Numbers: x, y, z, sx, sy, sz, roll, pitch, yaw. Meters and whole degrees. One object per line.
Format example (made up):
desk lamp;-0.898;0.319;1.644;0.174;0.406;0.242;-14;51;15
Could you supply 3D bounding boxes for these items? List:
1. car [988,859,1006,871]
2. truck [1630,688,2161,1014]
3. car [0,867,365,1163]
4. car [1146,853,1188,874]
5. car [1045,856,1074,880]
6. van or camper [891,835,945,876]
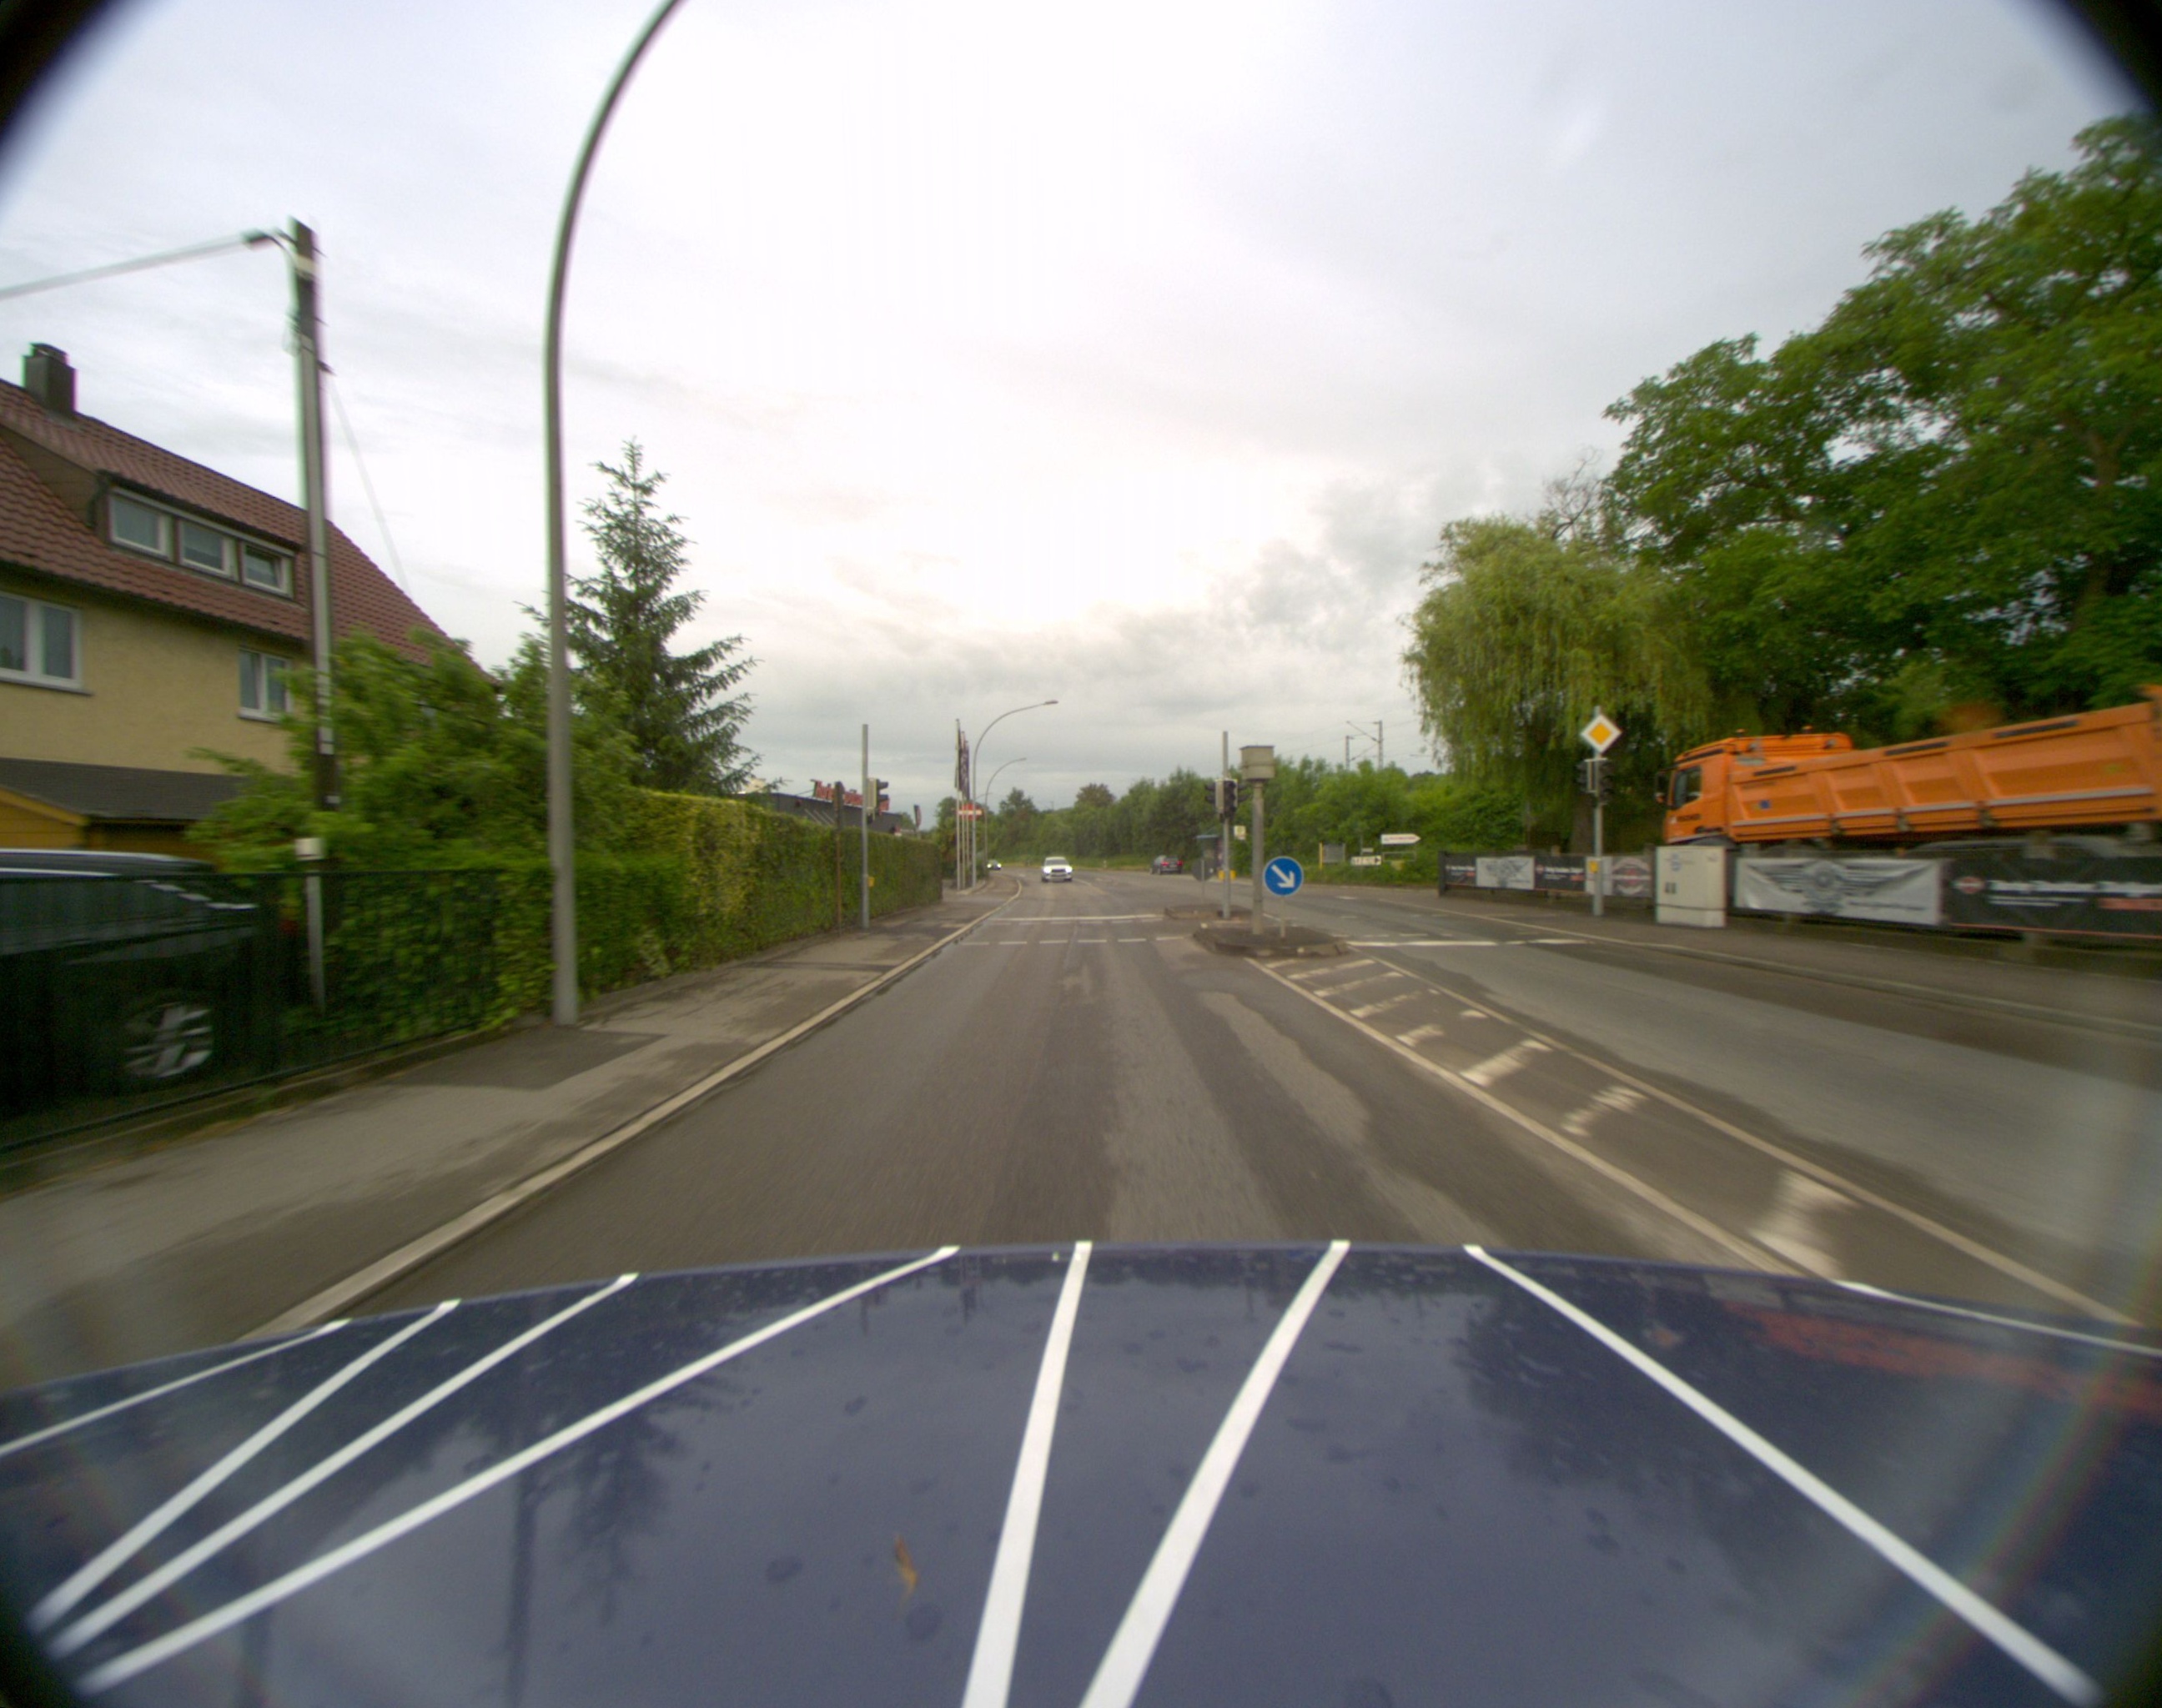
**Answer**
car;-11.553;1.532;104.151;1.840;1.609;3.994;-1;0;-16
truck;12.947;-0.249;11.934;2.703;3.393;9.071;-3;2;5
car;-6.307;0.869;3.551;1.665;1.448;4.245;-3;0;4
car;6.839;0.761;60.944;2.000;1.465;4.697;-3;0;-10
car;-1.493;0.899;51.988;1.848;1.565;3.826;-1;0;-3
van or camper;-10.804;0.089;50.893;2.046;2.578;6.590;-1;0;1
